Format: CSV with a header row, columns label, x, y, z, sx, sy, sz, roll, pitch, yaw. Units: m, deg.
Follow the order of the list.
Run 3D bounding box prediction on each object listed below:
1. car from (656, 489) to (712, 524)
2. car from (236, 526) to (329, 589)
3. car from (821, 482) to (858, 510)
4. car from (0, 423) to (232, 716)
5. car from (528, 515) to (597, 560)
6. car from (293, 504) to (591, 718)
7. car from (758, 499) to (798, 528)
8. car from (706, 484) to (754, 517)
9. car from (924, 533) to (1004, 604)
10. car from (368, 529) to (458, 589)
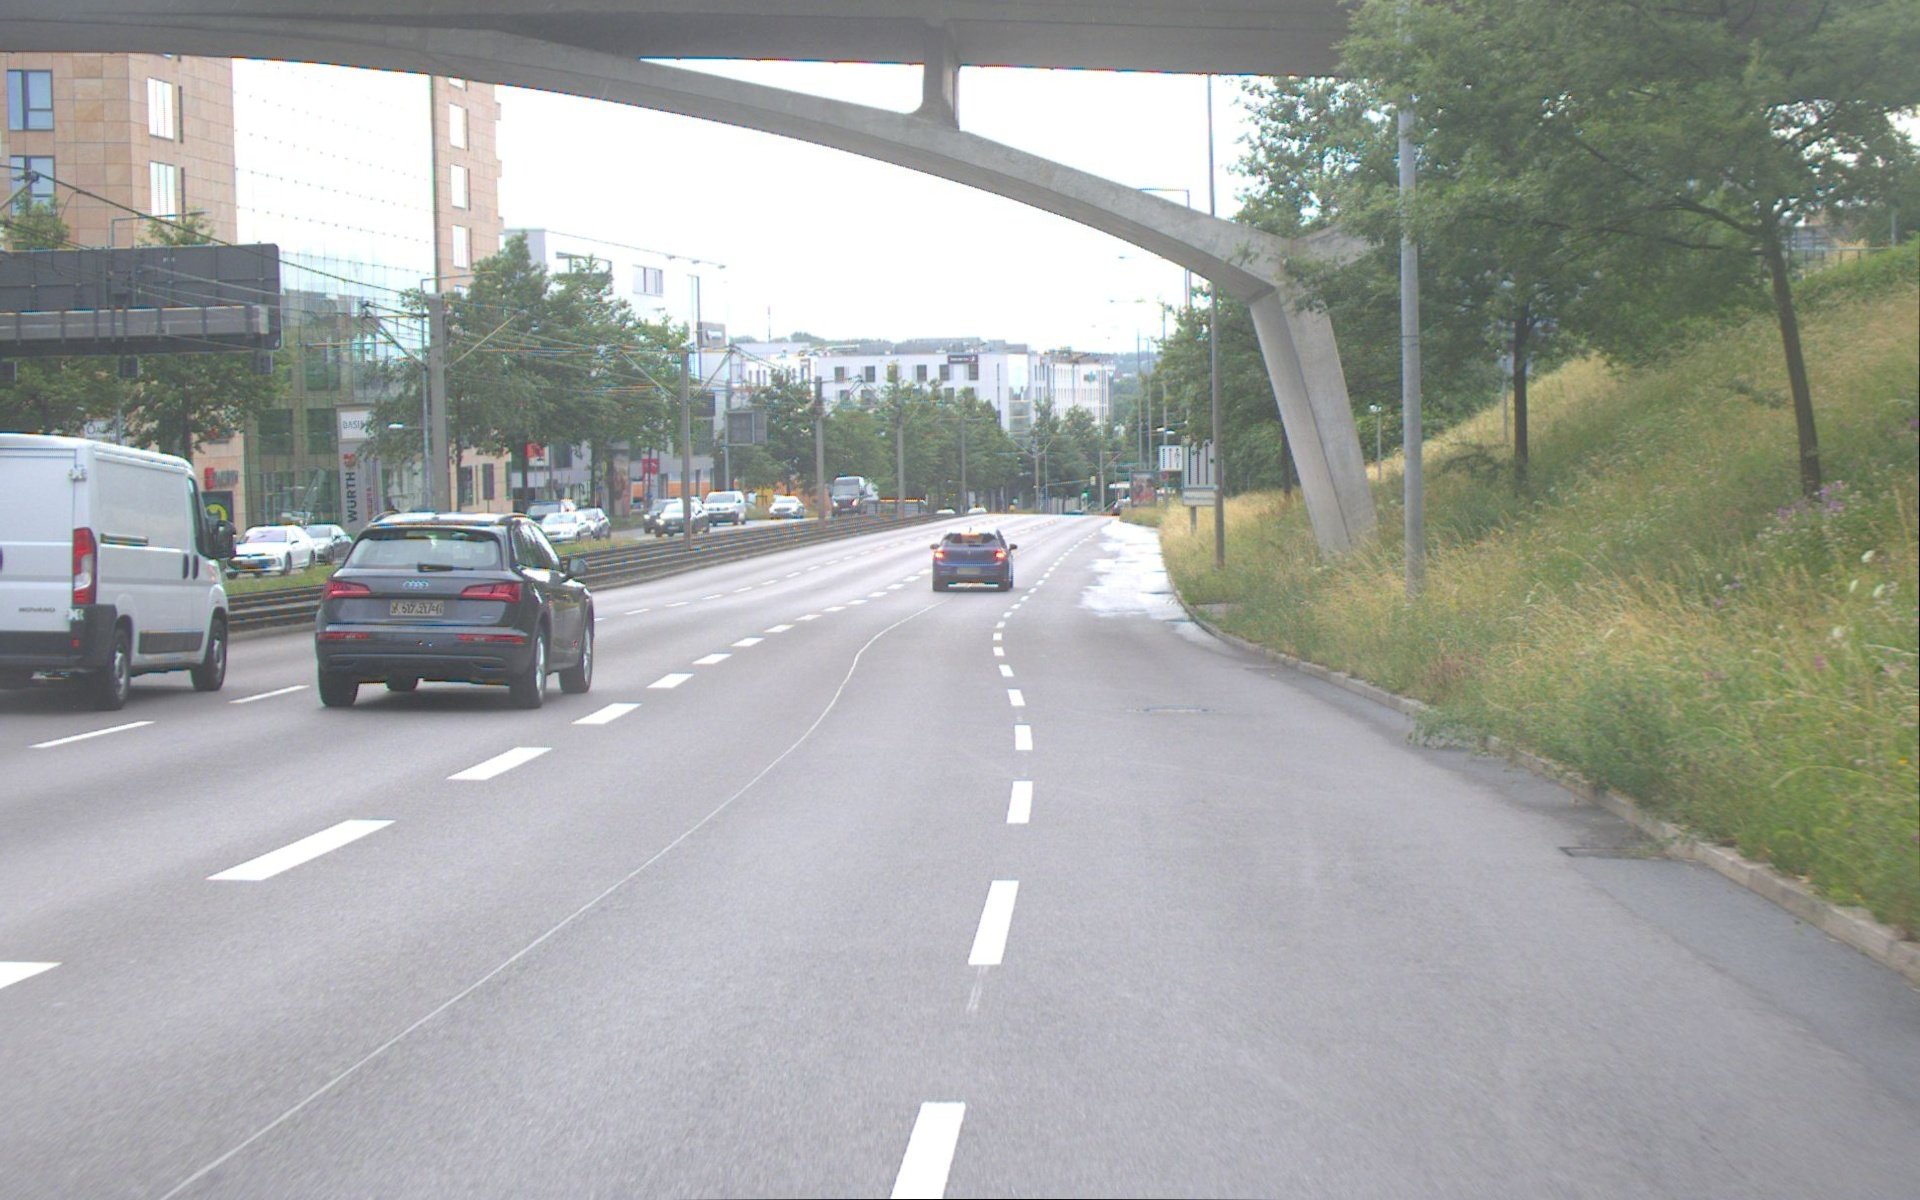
label,x,y,z,sx,sy,sz,roll,pitch,yaw
car,-12.500,-4.257,156.104,1.810,1.528,4.869,1,2,4
car,-20.313,-1.301,103.187,1.920,1.770,4.134,1,2,1
car,-7.881,-6.854,226.014,1.938,1.755,4.810,1,2,4
car,-7.868,-0.337,29.251,2.268,2.277,4.760,1,2,1
car,-15.034,-2.381,130.291,1.764,1.592,4.792,1,2,4
car,-4.420,0.029,29.931,1.922,1.704,4.098,1,2,1
car,-11.559,-5.501,218.254,1.938,1.755,4.810,1,2,4
car,-12.703,-5.513,190.189,1.938,1.755,5.062,1,2,4
car,0.112,-0.739,79.797,1.789,1.585,4.000,1,1,1
car,-17.219,-1.317,108.436,1.920,1.770,4.224,1,2,4
